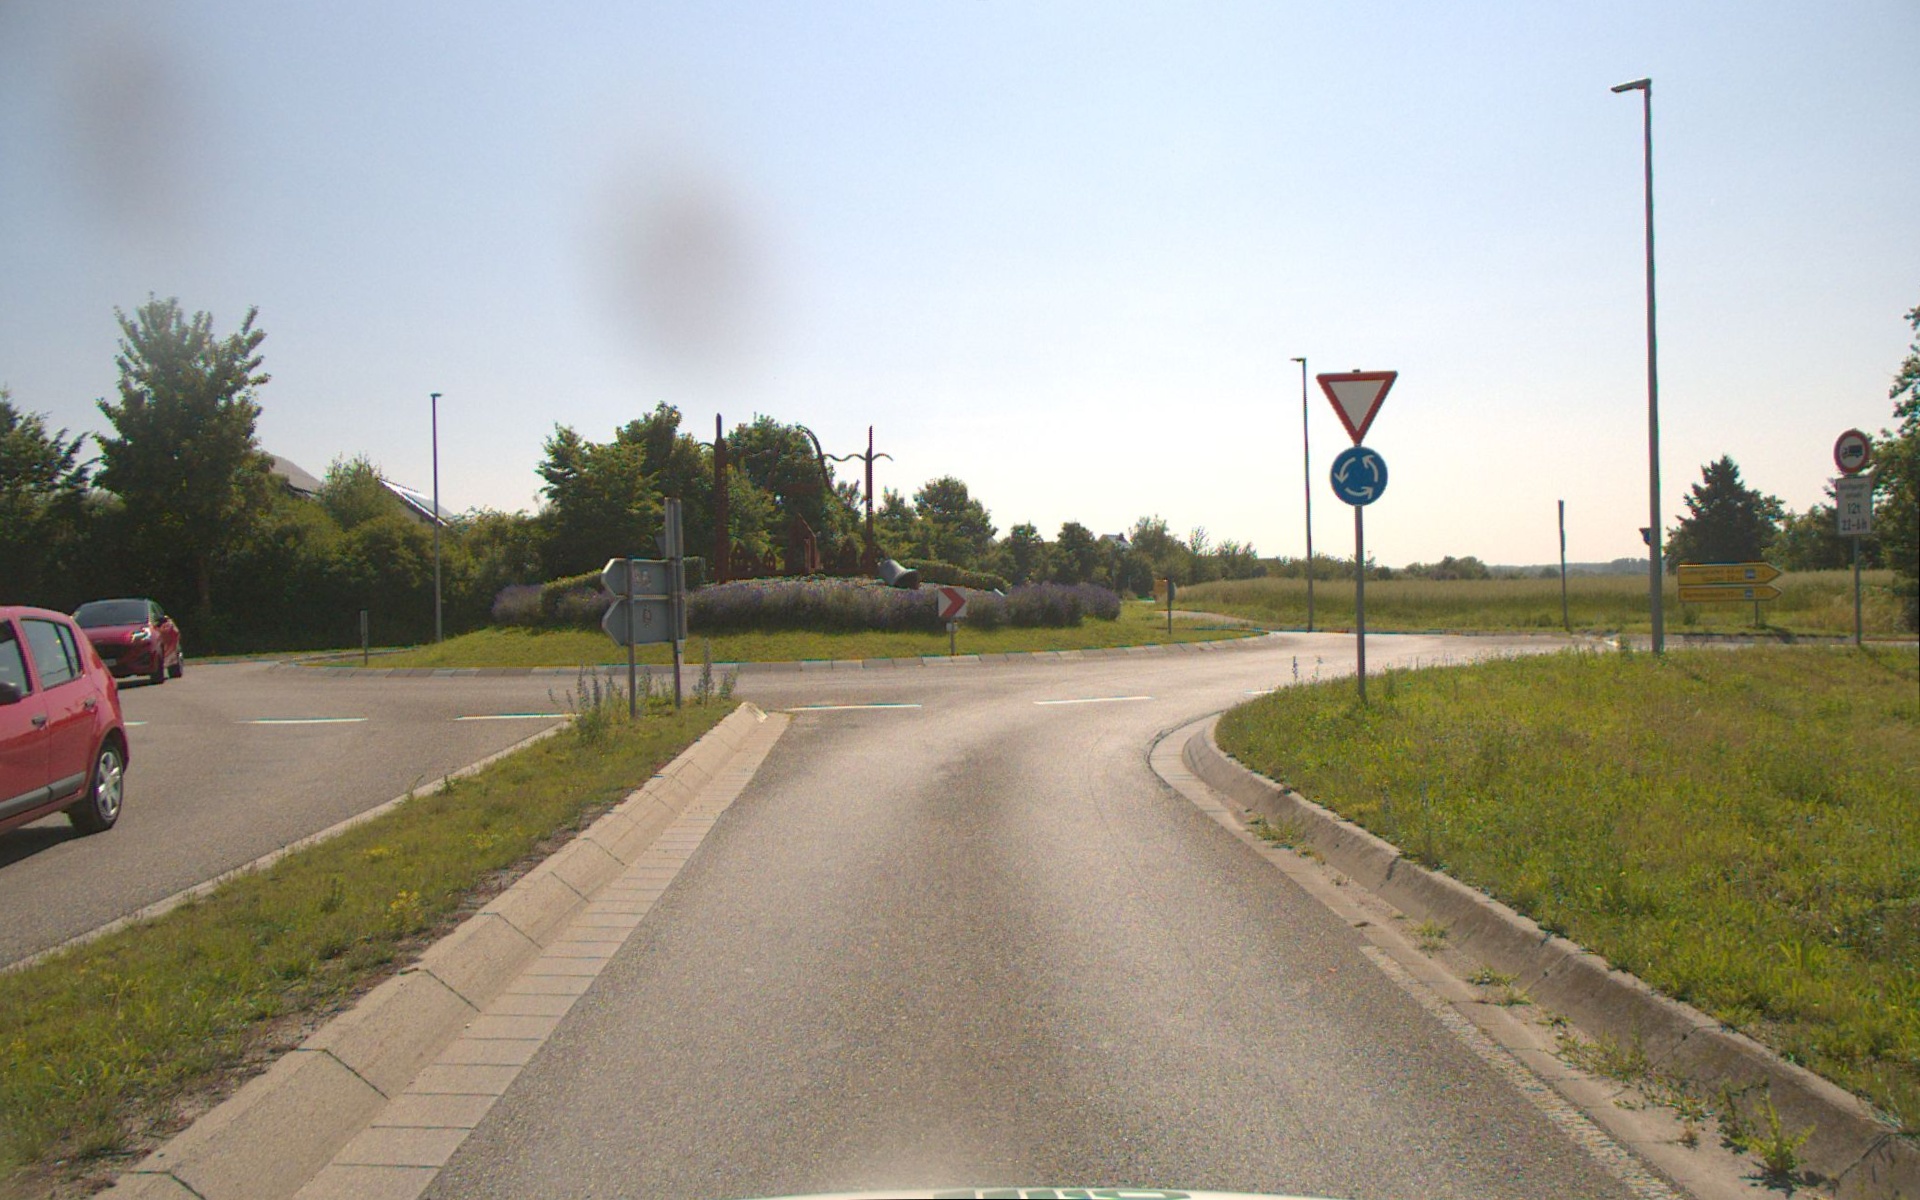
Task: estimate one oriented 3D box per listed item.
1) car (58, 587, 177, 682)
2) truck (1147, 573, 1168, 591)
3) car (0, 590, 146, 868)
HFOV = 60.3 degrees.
[{"bbox_3d":[-15.502,0.575,30.338,1.726,1.549,3.793,-3,2,-29],"label":"car"},{"bbox_3d":[23.135,-2.169,193.660,1.951,2.049,4.004,-1,1,14],"label":"truck"},{"bbox_3d":[-6.146,0.734,9.486,1.598,1.517,3.793,-2,1,-10],"label":"car"}]
